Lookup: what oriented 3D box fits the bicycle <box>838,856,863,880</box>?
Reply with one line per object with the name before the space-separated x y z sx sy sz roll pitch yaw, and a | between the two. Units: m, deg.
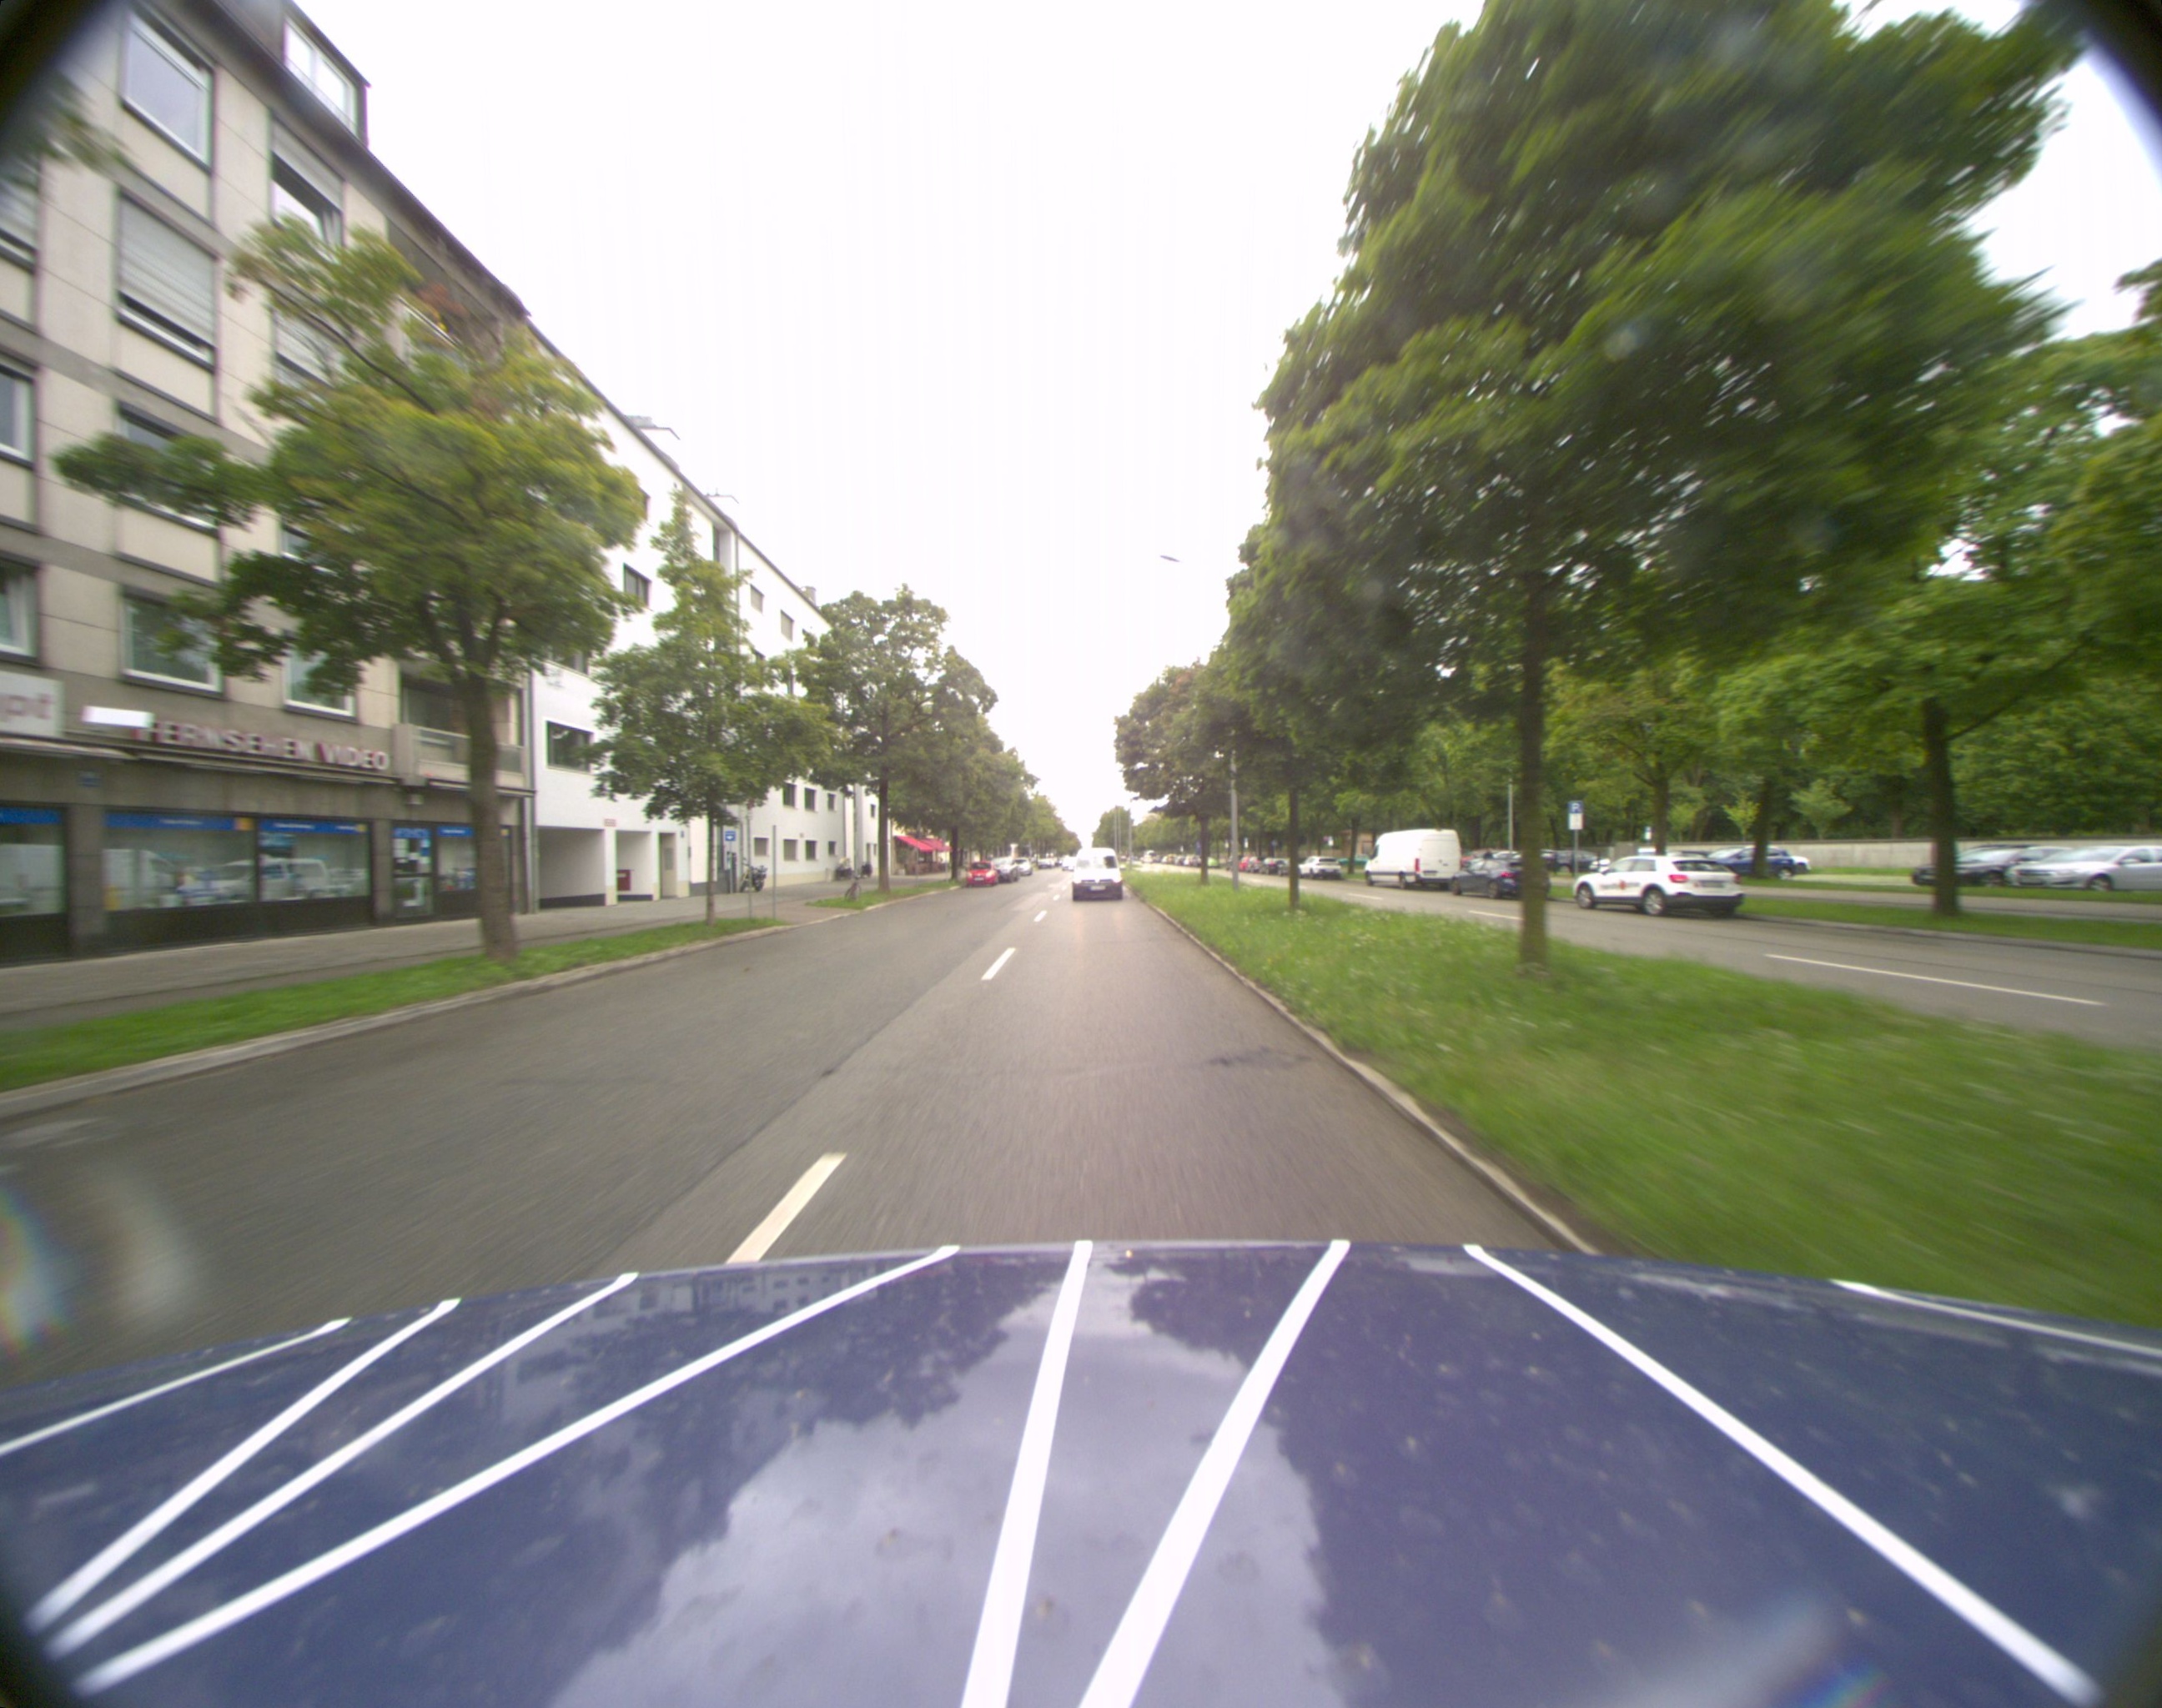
bicycle | -14.231 0.817 46.992 0.704 1.399 2.593 2 0 1

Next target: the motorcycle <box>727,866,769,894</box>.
motorcycle | -13.849 1.072 31.667 0.763 1.079 2.199 -1 0 1

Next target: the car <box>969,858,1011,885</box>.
car | -5.251 0.997 44.360 1.524 1.433 4.002 -2 0 6

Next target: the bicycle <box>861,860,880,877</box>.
bicycle | -14.278 0.962 51.618 0.623 1.040 2.195 3 0 1

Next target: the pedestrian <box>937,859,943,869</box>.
pedestrian | -14.289 1.000 77.096 0.539 1.048 0.487 -1 1 1

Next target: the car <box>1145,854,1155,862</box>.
car | 13.923 0.816 153.334 1.855 1.591 4.402 1 0 1

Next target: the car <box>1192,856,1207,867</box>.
car | 16.773 1.050 107.980 1.654 1.414 3.687 1 0 2

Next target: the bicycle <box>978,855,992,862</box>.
bicycle | -14.644 0.729 115.954 2.032 1.061 0.663 -1 1 -4

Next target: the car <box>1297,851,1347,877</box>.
car | 15.501 0.631 49.111 1.826 1.519 4.298 0 1 0

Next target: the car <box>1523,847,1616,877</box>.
car | 27.303 0.447 42.542 3.996 1.561 1.815 -1 0 3

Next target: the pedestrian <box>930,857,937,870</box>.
pedestrian | -14.494 0.886 74.477 0.539 1.260 0.487 -1 1 0

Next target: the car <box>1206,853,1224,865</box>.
car | 16.477 0.628 93.879 1.644 1.490 4.000 0 0 2

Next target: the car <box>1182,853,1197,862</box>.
car | 16.981 0.520 119.093 1.826 1.438 3.787 1 0 -1

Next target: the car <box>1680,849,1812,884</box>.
car | 28.846 0.515 33.073 3.995 1.429 1.815 -1 0 6

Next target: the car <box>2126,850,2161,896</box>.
car | 40.076 0.651 26.676 3.995 1.587 1.771 -1 0 6

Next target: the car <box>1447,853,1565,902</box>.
car | 15.084 0.772 27.265 1.862 1.482 4.251 -1 1 0

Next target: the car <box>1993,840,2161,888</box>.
car | 28.196 0.255 20.849 3.996 1.202 1.784 -1 0 4

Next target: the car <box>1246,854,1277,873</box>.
car | 15.668 0.820 66.232 1.826 1.590 4.113 -1 0 2

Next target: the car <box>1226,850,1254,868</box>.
car | 15.929 0.472 76.270 1.826 1.690 4.238 -1 1 0

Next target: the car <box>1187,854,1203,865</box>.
car | 16.975 0.821 112.987 1.826 1.468 4.260 1 0 2

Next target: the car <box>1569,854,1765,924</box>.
car | 14.864 0.814 19.632 1.862 1.482 4.141 -1 1 0

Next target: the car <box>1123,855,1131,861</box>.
car | 12.237 1.031 202.675 1.820 1.440 4.782 0 0 0

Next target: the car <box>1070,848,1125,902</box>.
car | 0.585 0.705 28.027 1.772 1.742 4.546 -3 0 1

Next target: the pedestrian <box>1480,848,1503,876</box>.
pedestrian | 22.372 0.446 41.402 0.797 1.487 0.856 -1 1 1

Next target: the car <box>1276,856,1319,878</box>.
car | 15.477 0.904 54.443 1.826 1.439 3.999 0 0 -2

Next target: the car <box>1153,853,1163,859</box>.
car | 17.023 0.458 168.587 1.717 1.401 4.041 0 0 -1

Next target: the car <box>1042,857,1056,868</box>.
car | -4.365 1.113 103.648 1.648 1.468 3.956 -2 0 0

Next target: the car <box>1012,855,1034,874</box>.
car | -5.201 0.907 68.371 1.834 1.513 4.522 -2 0 -3

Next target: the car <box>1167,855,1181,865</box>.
car | 16.706 1.028 136.481 1.862 1.761 4.533 0 0 -1

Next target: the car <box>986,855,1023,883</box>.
car | -4.959 0.939 49.802 1.833 1.736 4.508 -1 0 2

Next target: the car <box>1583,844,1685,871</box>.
car | 29.011 0.175 39.961 3.996 1.331 1.815 -1 0 3

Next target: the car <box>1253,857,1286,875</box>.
car | 15.125 0.941 61.072 1.825 1.401 4.001 1 0 3

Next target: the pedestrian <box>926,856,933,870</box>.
pedestrian | -14.588 0.865 73.331 0.539 1.331 0.552 -1 1 0

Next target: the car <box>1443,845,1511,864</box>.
car | 28.405 0.001 54.527 3.998 1.276 1.740 -1 0 -5

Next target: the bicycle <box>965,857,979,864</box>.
bicycle | -17.110 1.054 119.022 2.032 1.061 0.663 -1 1 -4

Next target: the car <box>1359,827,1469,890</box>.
car | 15.250 0.185 35.417 2.145 2.628 7.105 0 0 1

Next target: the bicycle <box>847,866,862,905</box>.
bicycle | -7.805 1.065 26.148 0.456 1.248 2.146 -1 0 -17

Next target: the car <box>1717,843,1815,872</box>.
car | 40.269 0.208 44.745 3.995 1.643 1.771 -1 0 6

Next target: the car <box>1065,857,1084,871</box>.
car | -0.684 1.129 87.098 1.984 1.591 4.402 1 0 1

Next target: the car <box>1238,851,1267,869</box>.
car | 16.058 0.542 71.381 1.826 1.471 3.809 -1 1 0

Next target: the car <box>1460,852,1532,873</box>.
car | 28.048 0.559 51.436 3.999 1.276 1.740 -1 0 -6

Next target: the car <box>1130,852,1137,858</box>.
car | 14.898 0.279 217.303 1.826 1.544 3.721 -1 0 2

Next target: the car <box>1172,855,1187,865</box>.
car | 16.871 0.977 130.612 2.007 1.607 4.041 0 0 -1

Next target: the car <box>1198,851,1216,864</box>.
car | 16.916 0.444 102.235 1.826 1.621 4.456 0 0 1
